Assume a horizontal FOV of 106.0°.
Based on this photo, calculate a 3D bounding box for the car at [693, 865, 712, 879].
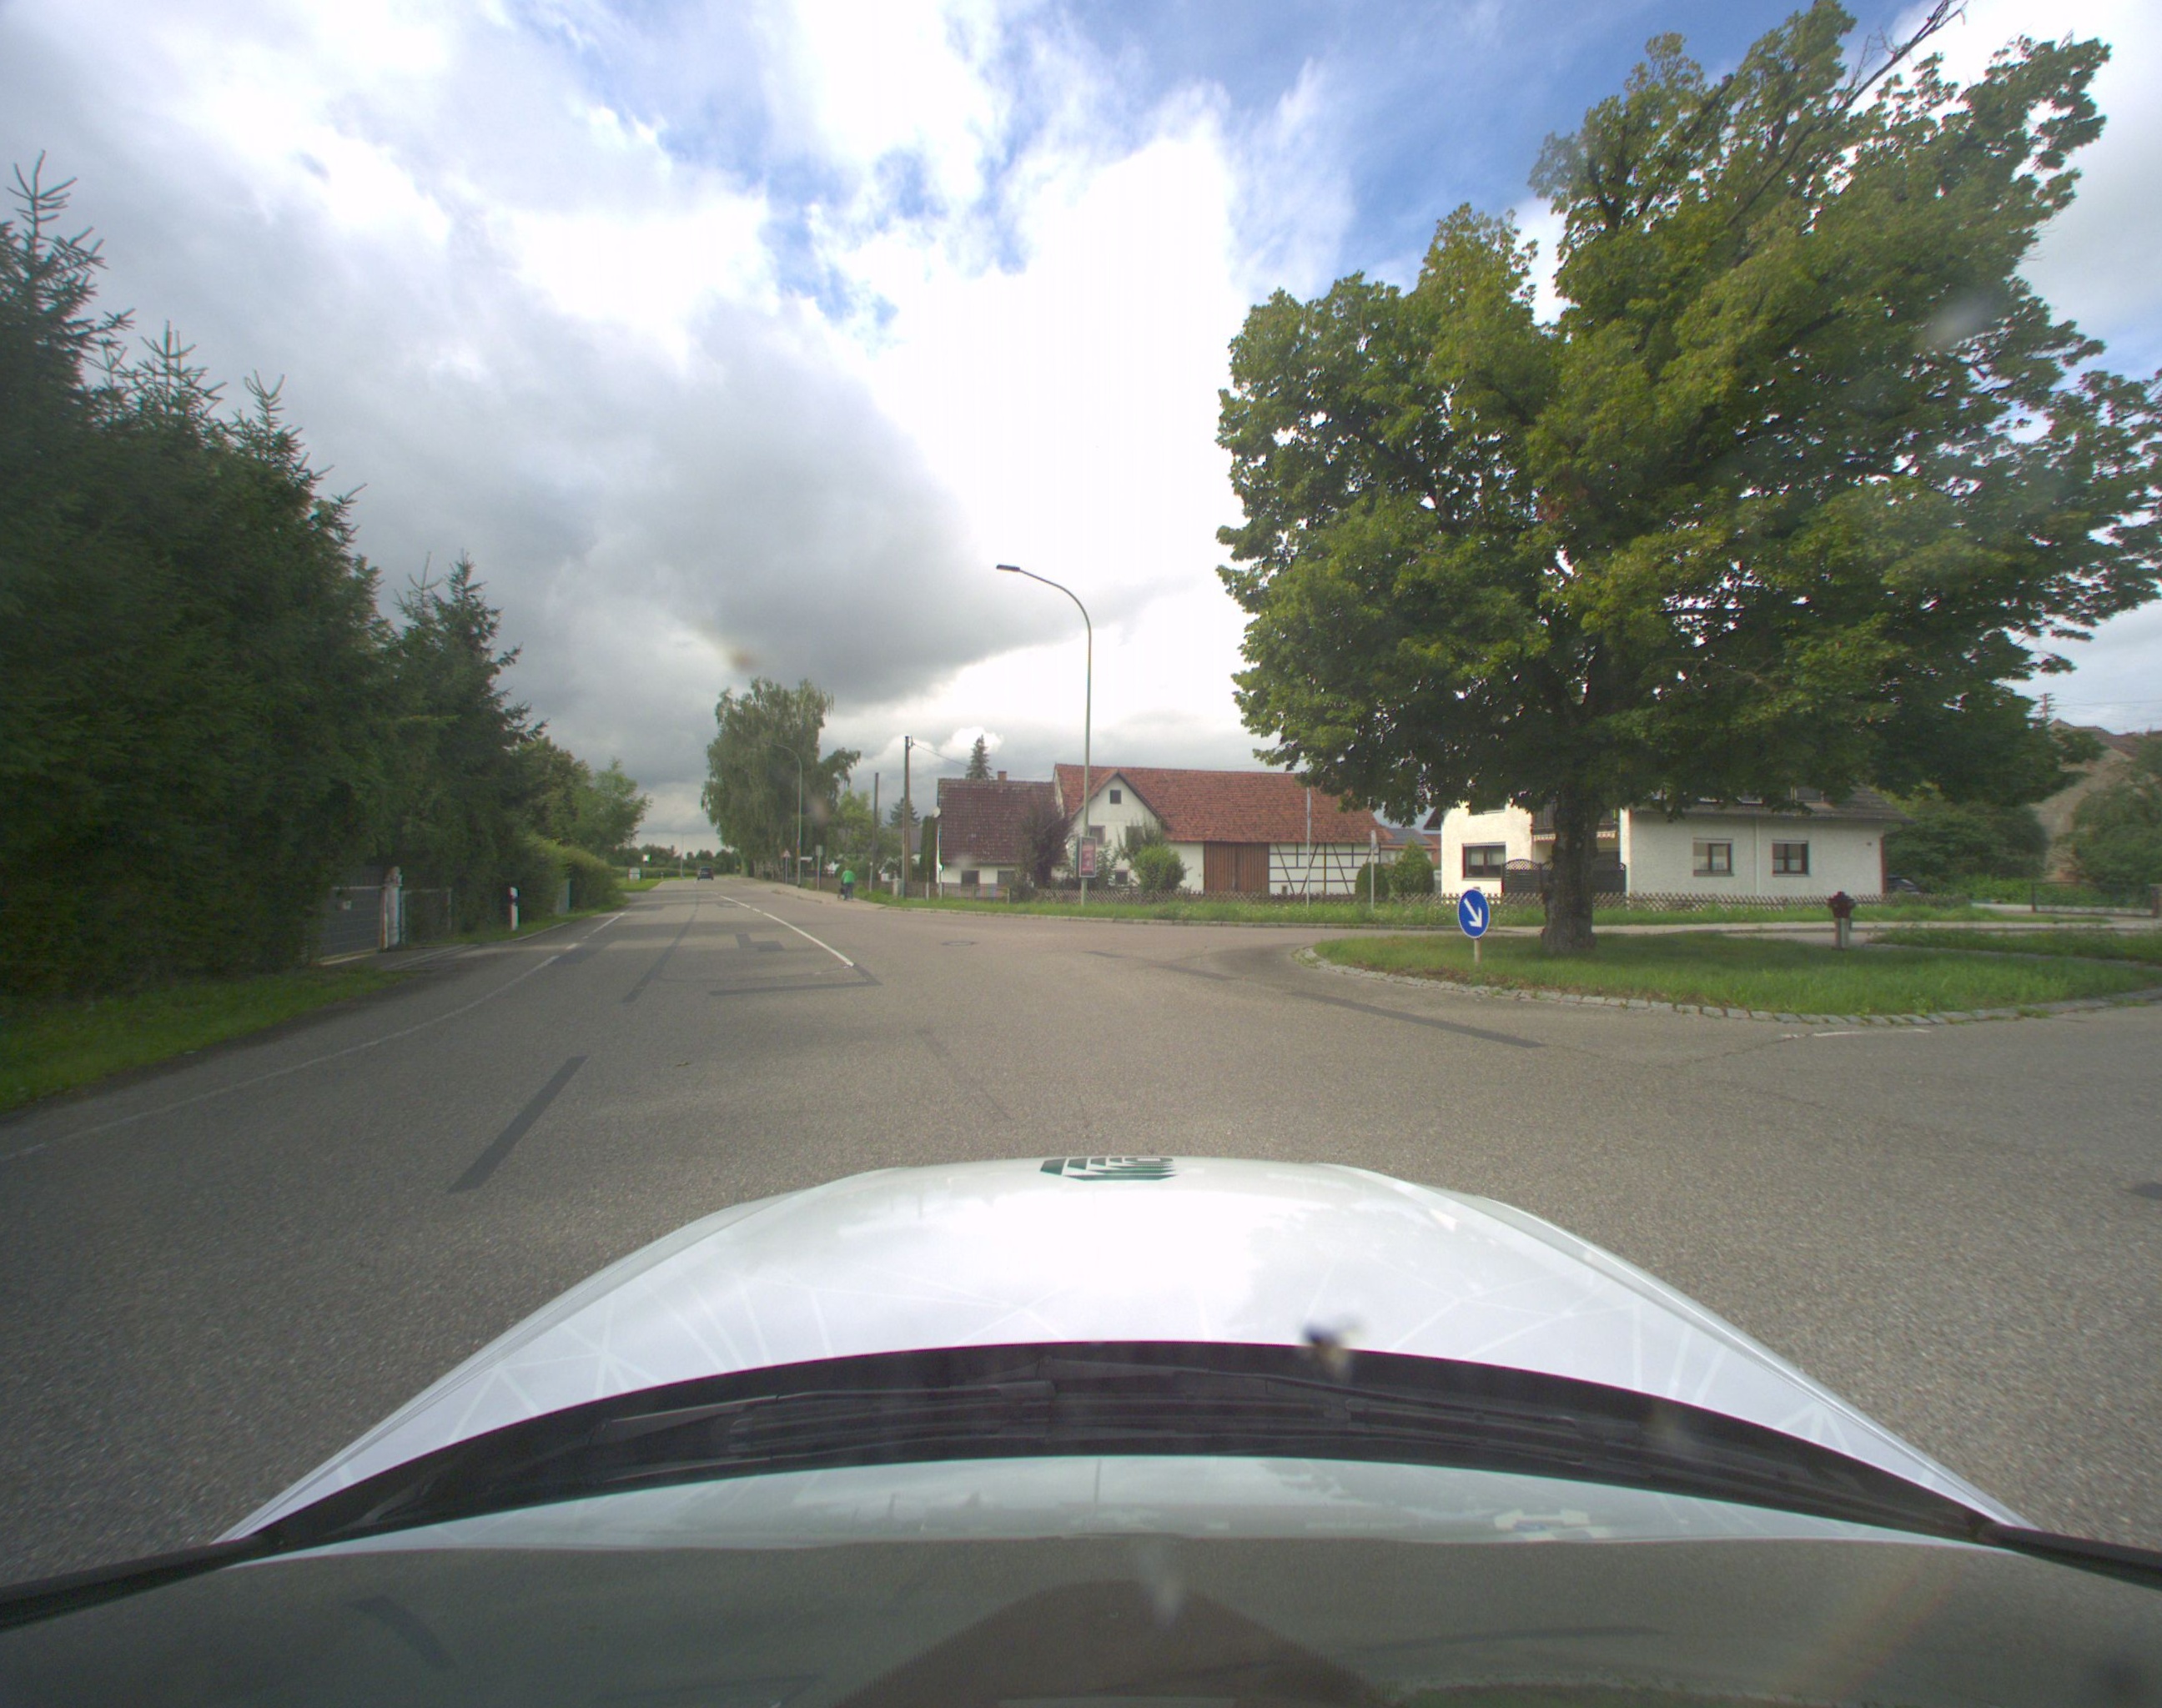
[{"bbox_3d":[-46.244,2.202,99.558,2.003,1.552,3.967,1,-1,-25],"label":"car"}]

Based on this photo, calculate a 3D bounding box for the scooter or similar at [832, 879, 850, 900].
[{"bbox_3d":[-11.686,1.729,39.651,0.634,0.948,0.616,6,-4,-30],"label":"scooter or similar"}]

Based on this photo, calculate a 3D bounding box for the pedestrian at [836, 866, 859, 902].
[{"bbox_3d":[-11.229,1.441,39.151,0.793,1.665,0.705,6,-4,-30],"label":"pedestrian"}]
